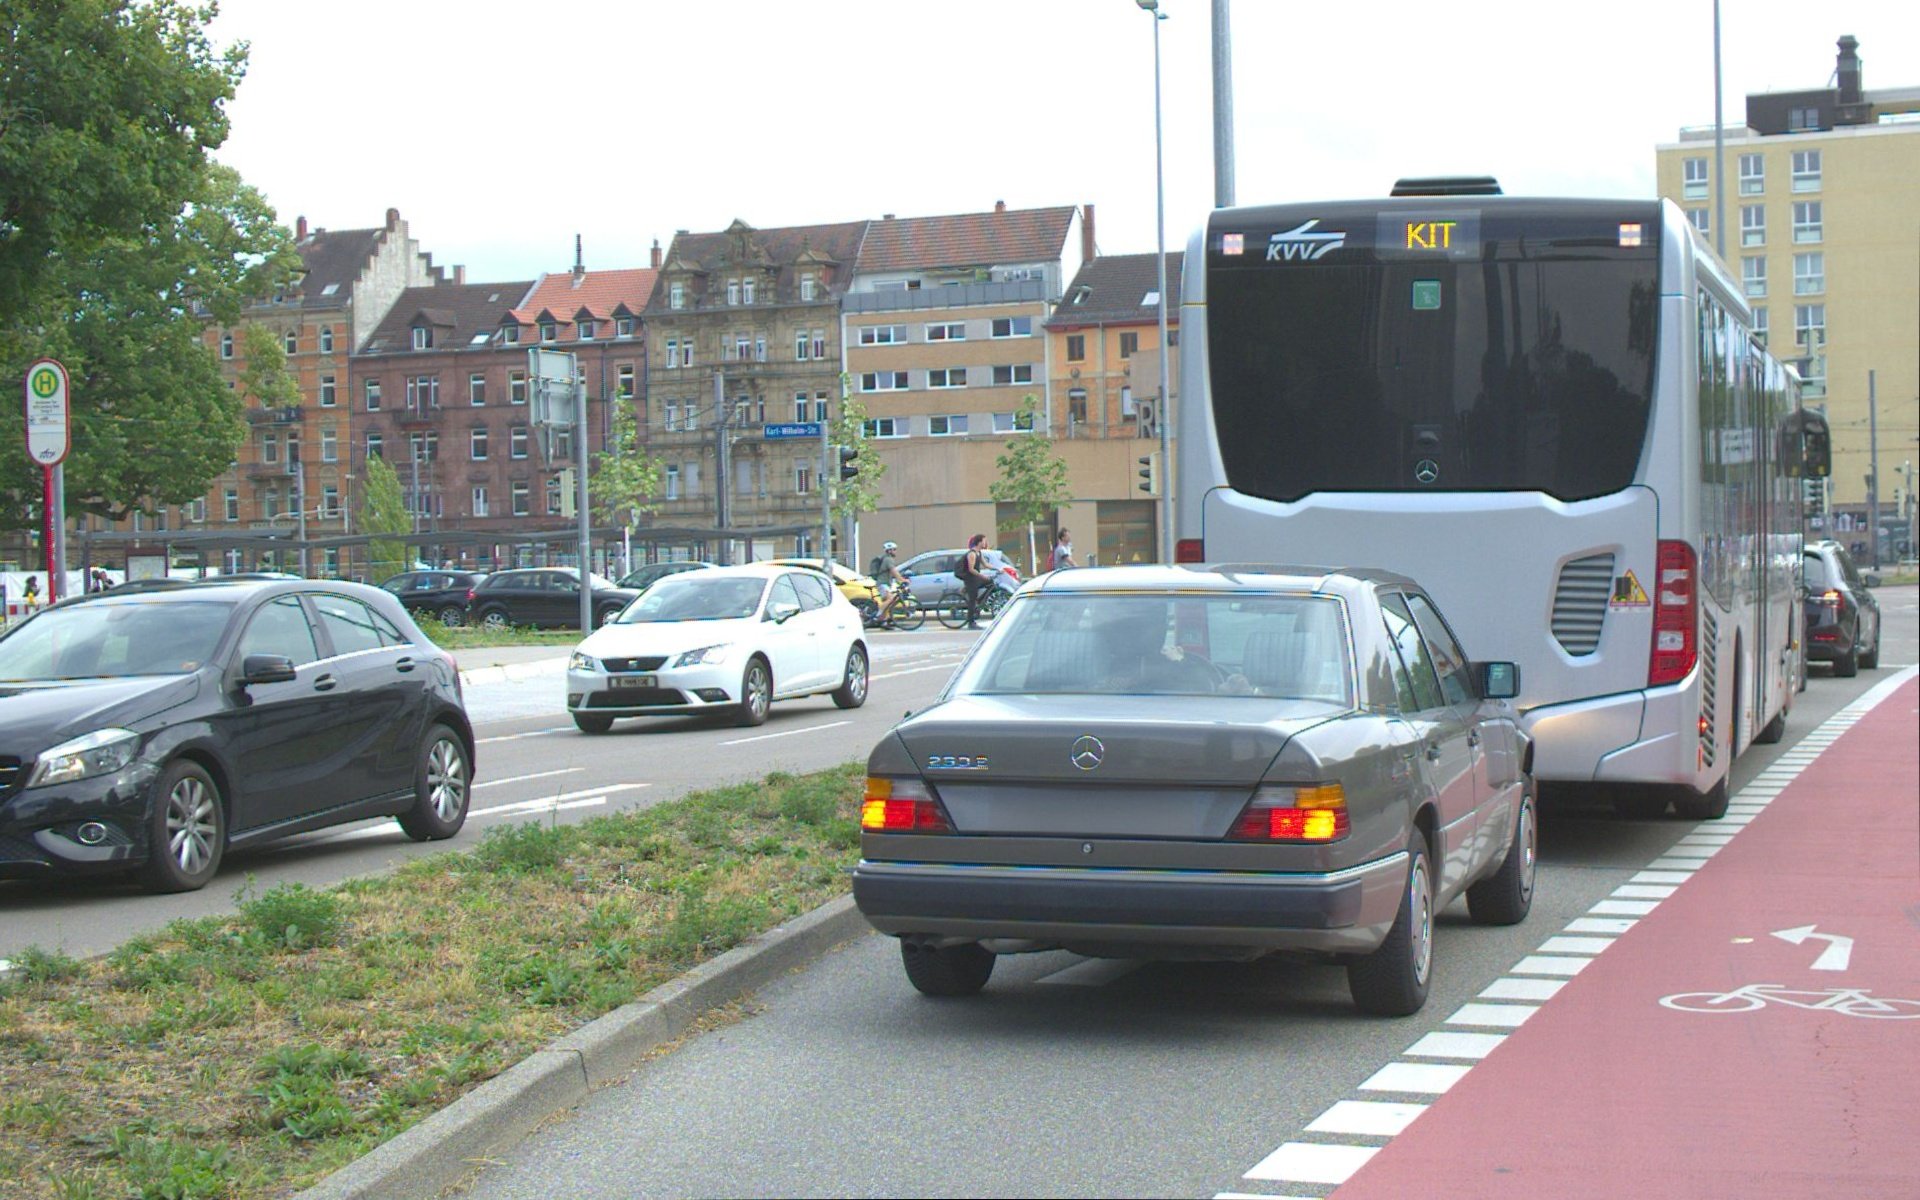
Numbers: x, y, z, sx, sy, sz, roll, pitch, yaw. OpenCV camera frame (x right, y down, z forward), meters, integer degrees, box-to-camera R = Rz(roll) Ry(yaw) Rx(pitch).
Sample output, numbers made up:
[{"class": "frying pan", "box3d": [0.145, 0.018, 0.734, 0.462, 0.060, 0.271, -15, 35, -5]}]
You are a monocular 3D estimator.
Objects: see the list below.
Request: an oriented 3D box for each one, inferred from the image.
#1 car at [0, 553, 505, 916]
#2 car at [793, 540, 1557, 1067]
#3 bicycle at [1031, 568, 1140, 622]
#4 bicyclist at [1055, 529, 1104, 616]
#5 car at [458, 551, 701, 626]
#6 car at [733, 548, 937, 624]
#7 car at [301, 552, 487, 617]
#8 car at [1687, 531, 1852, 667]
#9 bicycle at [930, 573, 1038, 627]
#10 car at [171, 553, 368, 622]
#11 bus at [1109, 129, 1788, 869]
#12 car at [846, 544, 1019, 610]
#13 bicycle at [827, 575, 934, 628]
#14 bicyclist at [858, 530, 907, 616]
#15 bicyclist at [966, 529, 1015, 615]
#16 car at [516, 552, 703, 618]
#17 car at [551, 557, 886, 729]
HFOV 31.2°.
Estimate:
[{"class": "car", "box3d": [-4.025, 0.580, 16.992, 1.756, 1.484, 4.374, -3, 1, 18]}, {"class": "car", "box3d": [0.952, 0.563, 12.109, 1.762, 1.484, 4.168, -1, 1, 17]}, {"class": "bicycle", "box3d": [2.385, -0.092, 65.338, 1.965, 0.978, 0.630, -1, 1, 15]}, {"class": "bicyclist", "box3d": [2.274, -0.525, 65.367, 0.787, 1.638, 0.613, -1, 1, 15]}, {"class": "car", "box3d": [-7.825, -0.247, 70.791, 4.672, 1.470, 1.659, 1, 1, 13]}, {"class": "car", "box3d": [-2.535, -0.299, 69.928, 3.858, 1.512, 1.659, 0, 1, 13]}, {"class": "car", "box3d": [-12.563, -0.352, 76.399, 3.765, 1.389, 1.584, 1, 1, 13]}, {"class": "car", "box3d": [9.002, -0.045, 38.058, 1.656, 1.392, 3.858, -1, 1, 15]}, {"class": "bicycle", "box3d": [0.457, -0.003, 66.212, 1.966, 0.978, 0.630, -1, 1, 16]}, {"class": "car", "box3d": [-14.532, -0.279, 72.407, 3.765, 1.389, 1.584, 1, 1, 13]}, {"class": "bus", "box3d": [3.201, -0.542, 20.033, 2.833, 3.379, 8.177, -1, 1, 16]}, {"class": "car", "box3d": [-0.593, -0.507, 74.162, 3.672, 1.389, 1.585, 0, 1, 0]}, {"class": "bicycle", "box3d": [-1.557, 0.024, 67.099, 1.965, 0.978, 0.630, -1, 1, 13]}, {"class": "bicyclist", "box3d": [-1.511, -0.530, 67.101, 0.787, 1.638, 0.572, -1, 1, 13]}, {"class": "bicyclist", "box3d": [0.589, -0.540, 66.167, 0.787, 1.638, 0.572, -1, 1, 17]}, {"class": "car", "box3d": [-7.678, -0.332, 75.411, 3.765, 1.389, 1.584, 1, 1, 13]}, {"class": "car", "box3d": [-2.206, 0.364, 32.590, 1.698, 1.438, 4.172, -2, 1, 18]}]
